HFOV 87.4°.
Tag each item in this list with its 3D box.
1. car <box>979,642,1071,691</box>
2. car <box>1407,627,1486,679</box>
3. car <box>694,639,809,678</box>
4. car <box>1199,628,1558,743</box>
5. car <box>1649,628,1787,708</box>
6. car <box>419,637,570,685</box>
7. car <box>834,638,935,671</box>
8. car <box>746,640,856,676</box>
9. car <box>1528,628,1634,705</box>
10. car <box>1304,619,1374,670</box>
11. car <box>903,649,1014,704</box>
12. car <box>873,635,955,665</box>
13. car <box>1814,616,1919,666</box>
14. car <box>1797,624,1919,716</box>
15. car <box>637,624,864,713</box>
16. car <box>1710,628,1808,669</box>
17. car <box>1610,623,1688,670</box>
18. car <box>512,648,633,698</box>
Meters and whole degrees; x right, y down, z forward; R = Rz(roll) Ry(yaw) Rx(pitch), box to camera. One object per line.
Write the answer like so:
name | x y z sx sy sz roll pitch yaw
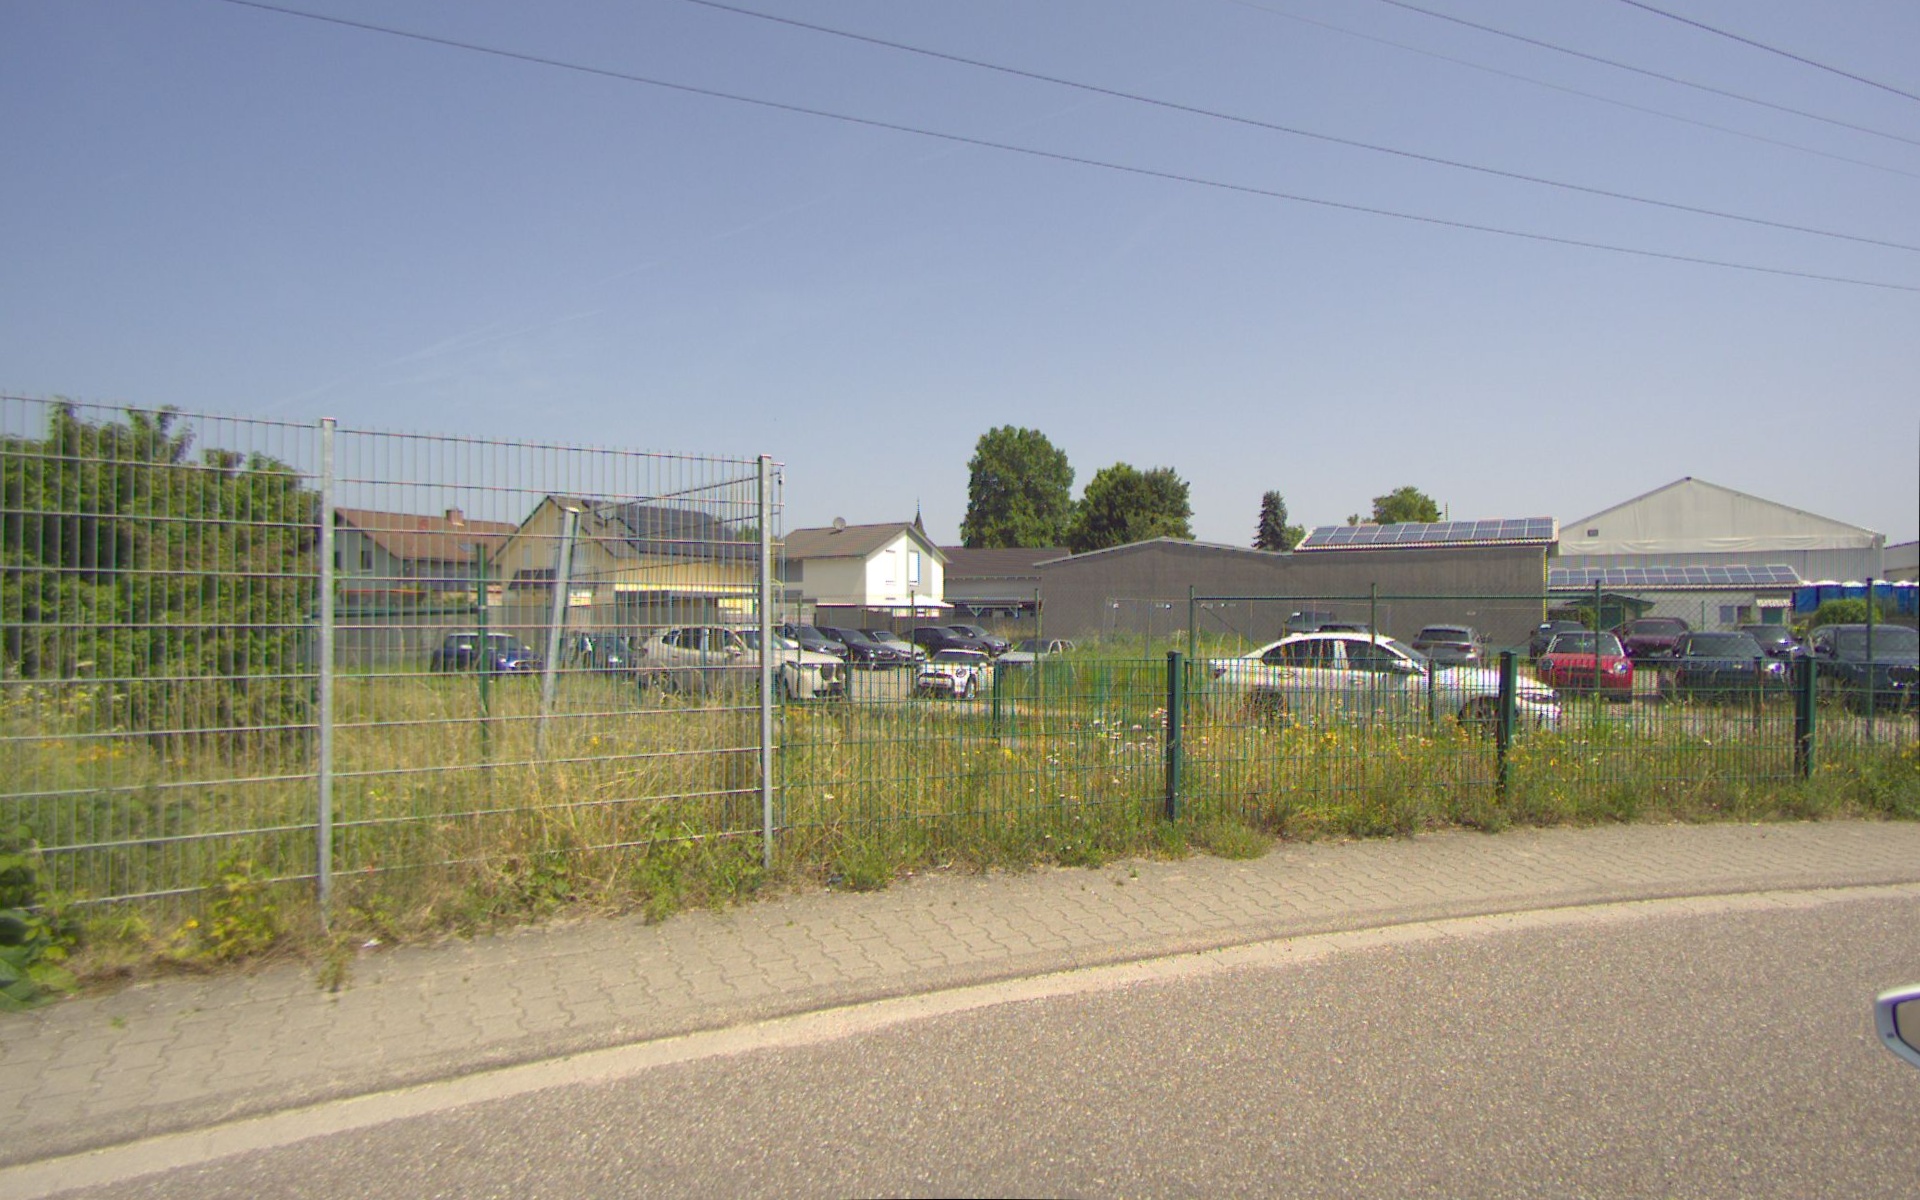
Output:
car | 2.566 2.513 38.814 1.965 1.639 3.992 0 -1 30
car | 13.602 1.424 27.982 1.834 1.316 3.436 0 -1 28
car | -7.763 2.148 37.366 4.063 1.252 1.790 0 -1 31
car | 5.876 1.103 14.260 4.482 1.324 1.864 0 -1 31
car | 15.572 1.329 20.818 1.835 1.452 3.642 0 -1 30
car | -12.643 1.614 27.253 3.934 1.122 1.863 0 -1 31
car | -3.279 2.308 43.326 4.063 1.252 1.790 0 -1 31
car | -6.230 2.233 39.224 4.063 1.252 1.790 0 -1 31
car | 13.532 1.386 22.022 1.835 1.473 3.434 0 -1 30
car | 11.487 1.293 30.321 1.833 1.433 3.439 0 -1 23
car | 0.020 2.119 28.584 1.630 1.332 3.384 0 -1 32
car | -2.197 2.351 47.735 3.547 1.252 1.789 0 -1 34
car | 29.099 1.272 32.053 1.966 1.454 4.656 0 -1 30
car | 17.673 1.277 19.288 1.835 1.582 3.690 0 -1 30
car | -4.324 1.310 20.579 4.360 1.583 2.038 0 -1 31
car | 26.228 1.550 33.122 1.835 1.191 4.595 0 -1 30
car | 23.617 1.551 34.558 1.835 1.452 4.595 0 -1 30
car | -11.424 2.103 29.550 3.566 1.263 1.483 0 -1 32
